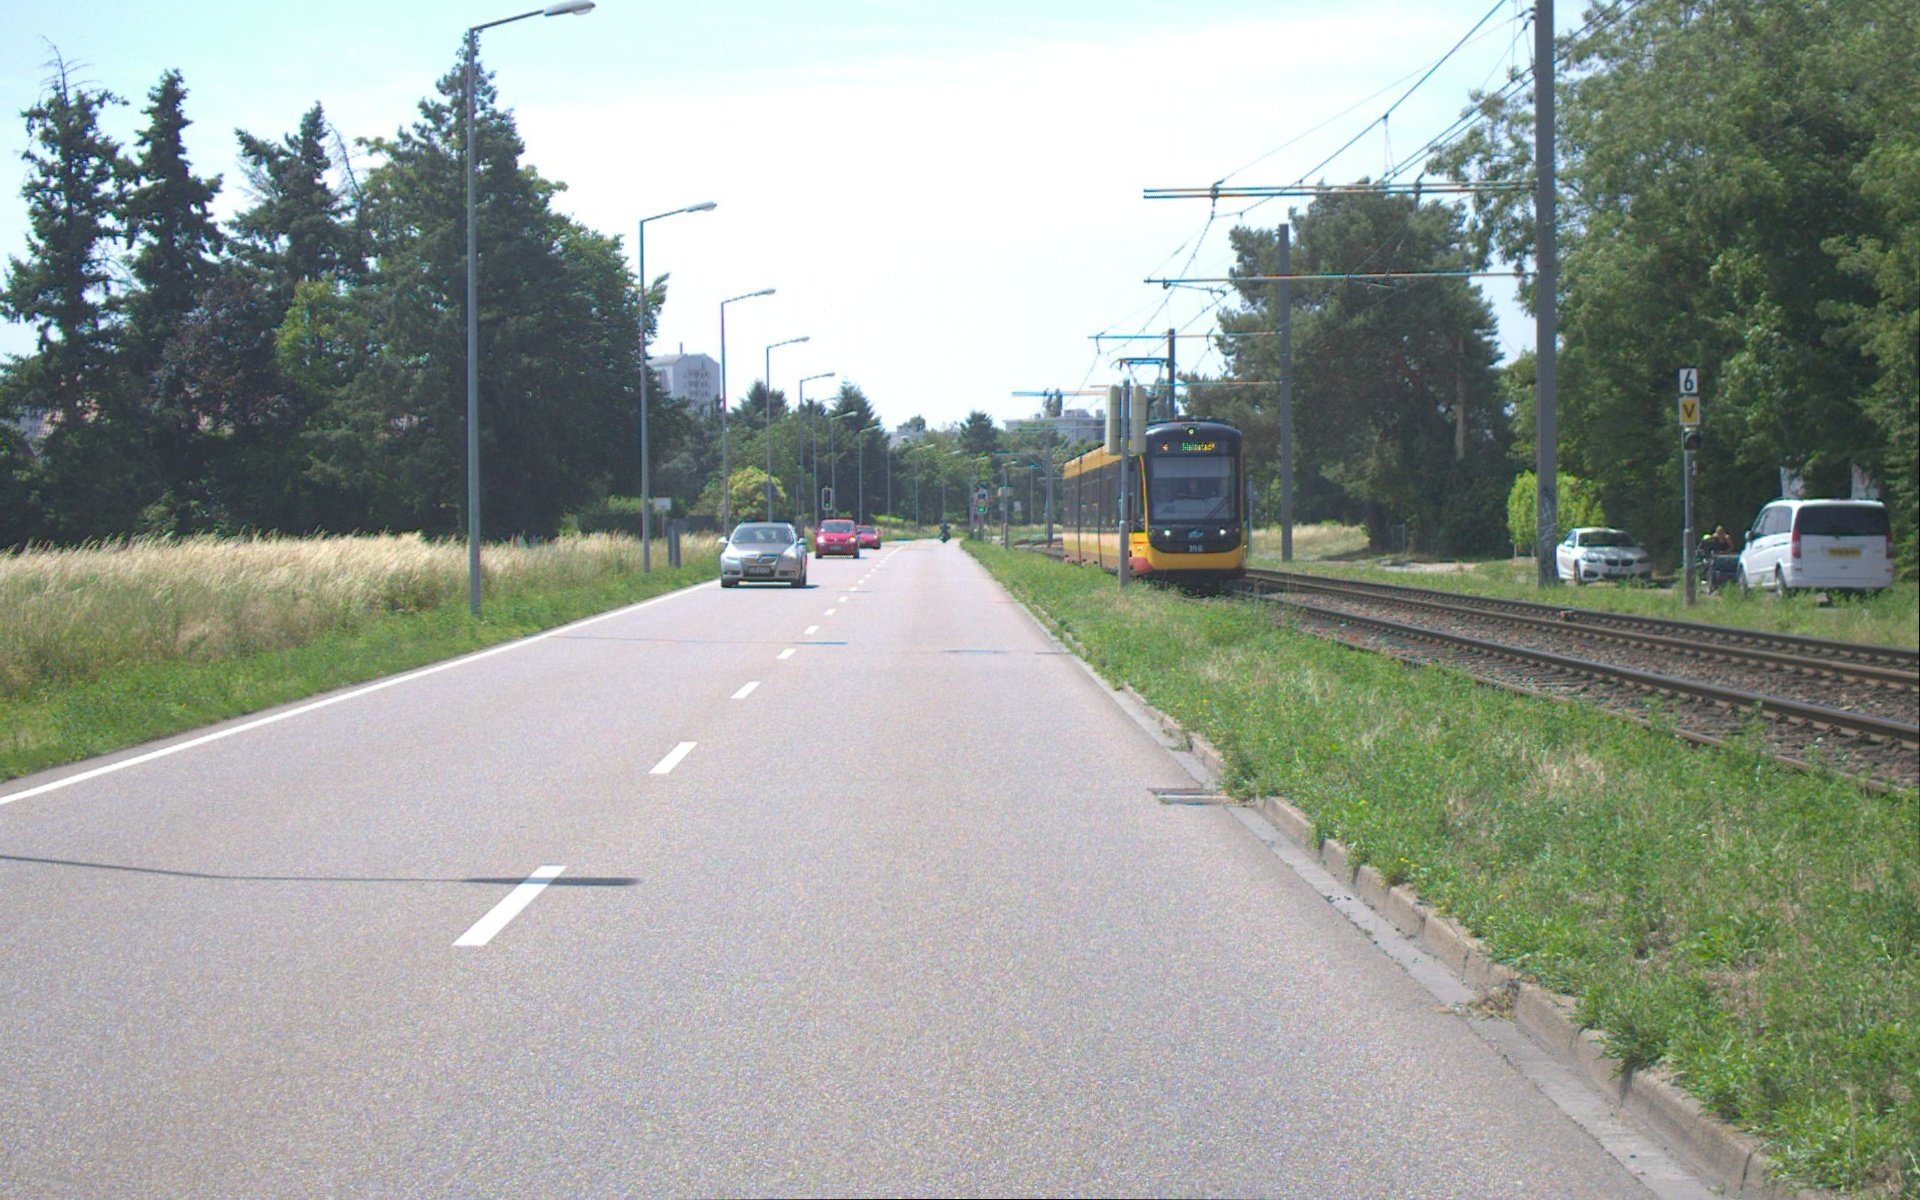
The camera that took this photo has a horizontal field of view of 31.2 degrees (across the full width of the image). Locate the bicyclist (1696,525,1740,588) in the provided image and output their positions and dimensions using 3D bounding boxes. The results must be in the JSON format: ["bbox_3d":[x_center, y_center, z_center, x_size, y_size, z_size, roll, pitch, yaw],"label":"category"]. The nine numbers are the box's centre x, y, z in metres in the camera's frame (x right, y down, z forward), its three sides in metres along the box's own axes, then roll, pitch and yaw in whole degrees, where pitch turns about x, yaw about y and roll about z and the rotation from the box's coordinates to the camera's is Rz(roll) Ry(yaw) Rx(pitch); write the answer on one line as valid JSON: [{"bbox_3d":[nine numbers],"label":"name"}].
[{"bbox_3d":[16.141,-0.929,73.215,0.701,1.333,0.904,-1,0,0],"label":"bicyclist"}]

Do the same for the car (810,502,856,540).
[{"bbox_3d":[-4.817,-3.000,131.105,1.645,1.395,3.845,-1,0,-1],"label":"car"}]

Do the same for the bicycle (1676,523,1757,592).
[{"bbox_3d":[16.113,-0.907,73.303,0.928,1.425,3.385,-1,0,0],"label":"bicycle"}]

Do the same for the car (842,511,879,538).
[{"bbox_3d":[-5.165,-3.917,178.469,1.807,1.281,4.286,-1,0,0],"label":"car"}]

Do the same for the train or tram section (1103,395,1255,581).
[{"bbox_3d":[4.716,-2.336,75.993,2.429,3.753,11.560,-1,0,-1],"label":"train or tram section"}]

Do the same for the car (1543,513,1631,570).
[{"bbox_3d":[14.870,-1.364,81.624,1.428,1.303,3.466,-1,0,0],"label":"car"}]

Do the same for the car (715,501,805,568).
[{"bbox_3d":[-4.583,-1.479,79.257,1.834,1.462,4.678,-1,0,0],"label":"car"}]

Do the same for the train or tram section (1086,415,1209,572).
[{"bbox_3d":[4.581,-2.569,85.137,2.560,3.701,6.730,-1,0,-1],"label":"train or tram section"}]

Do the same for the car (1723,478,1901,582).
[{"bbox_3d":[15.411,-1.248,62.445,1.993,1.796,4.794,-1,0,0],"label":"car"}]
